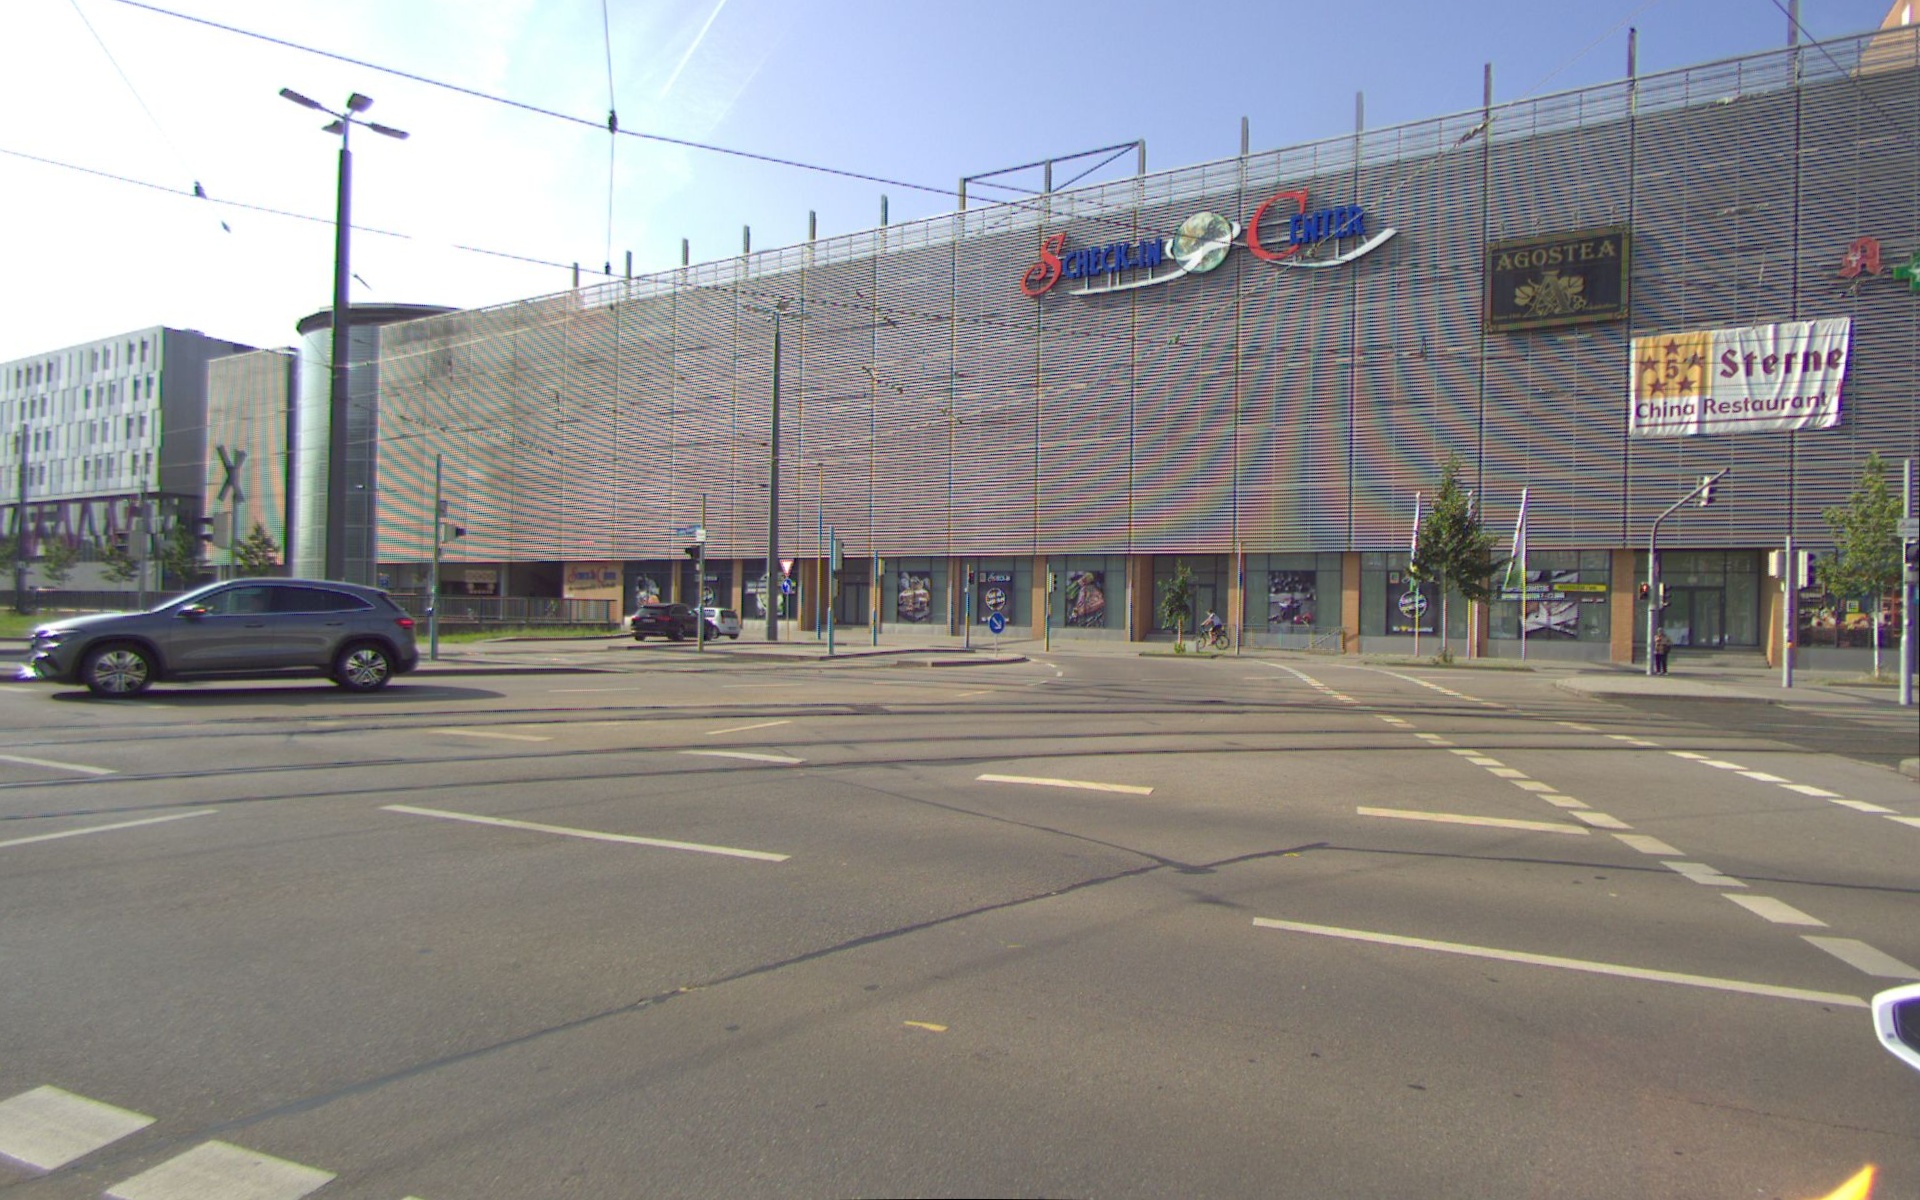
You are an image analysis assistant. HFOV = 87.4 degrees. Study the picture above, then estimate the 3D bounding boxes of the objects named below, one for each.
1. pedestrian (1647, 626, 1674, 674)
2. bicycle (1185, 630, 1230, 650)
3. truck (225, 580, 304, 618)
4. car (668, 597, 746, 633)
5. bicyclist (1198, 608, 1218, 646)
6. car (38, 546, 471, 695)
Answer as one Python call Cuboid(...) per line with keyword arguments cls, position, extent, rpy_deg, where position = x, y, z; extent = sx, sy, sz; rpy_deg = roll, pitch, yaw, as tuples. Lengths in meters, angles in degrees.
Cuboid(cls="pedestrian", position=(23.689, 1.684, 33.962), extent=(0.578, 1.600, 0.763), rpy_deg=(1, -1, 23))
Cuboid(cls="bicycle", position=(11.084, 1.796, 45.058), extent=(1.834, 0.790, 0.582), rpy_deg=(3, 0, 27))
Cuboid(cls="truck", position=(-45.338, -0.035, 65.481), extent=(4.463, 2.353, 2.207), rpy_deg=(1, 0, 23))
Cuboid(cls="car", position=(-12.434, 0.750, 49.413), extent=(3.339, 1.580, 1.741), rpy_deg=(3, 0, 27))
Cuboid(cls="bicyclist", position=(11.127, 1.193, 45.060), extent=(0.701, 1.651, 0.568), rpy_deg=(3, 0, 26))
Cuboid(cls="car", position=(-9.902, 0.331, 14.459), extent=(4.776, 1.807, 1.933), rpy_deg=(3, -1, -40))
